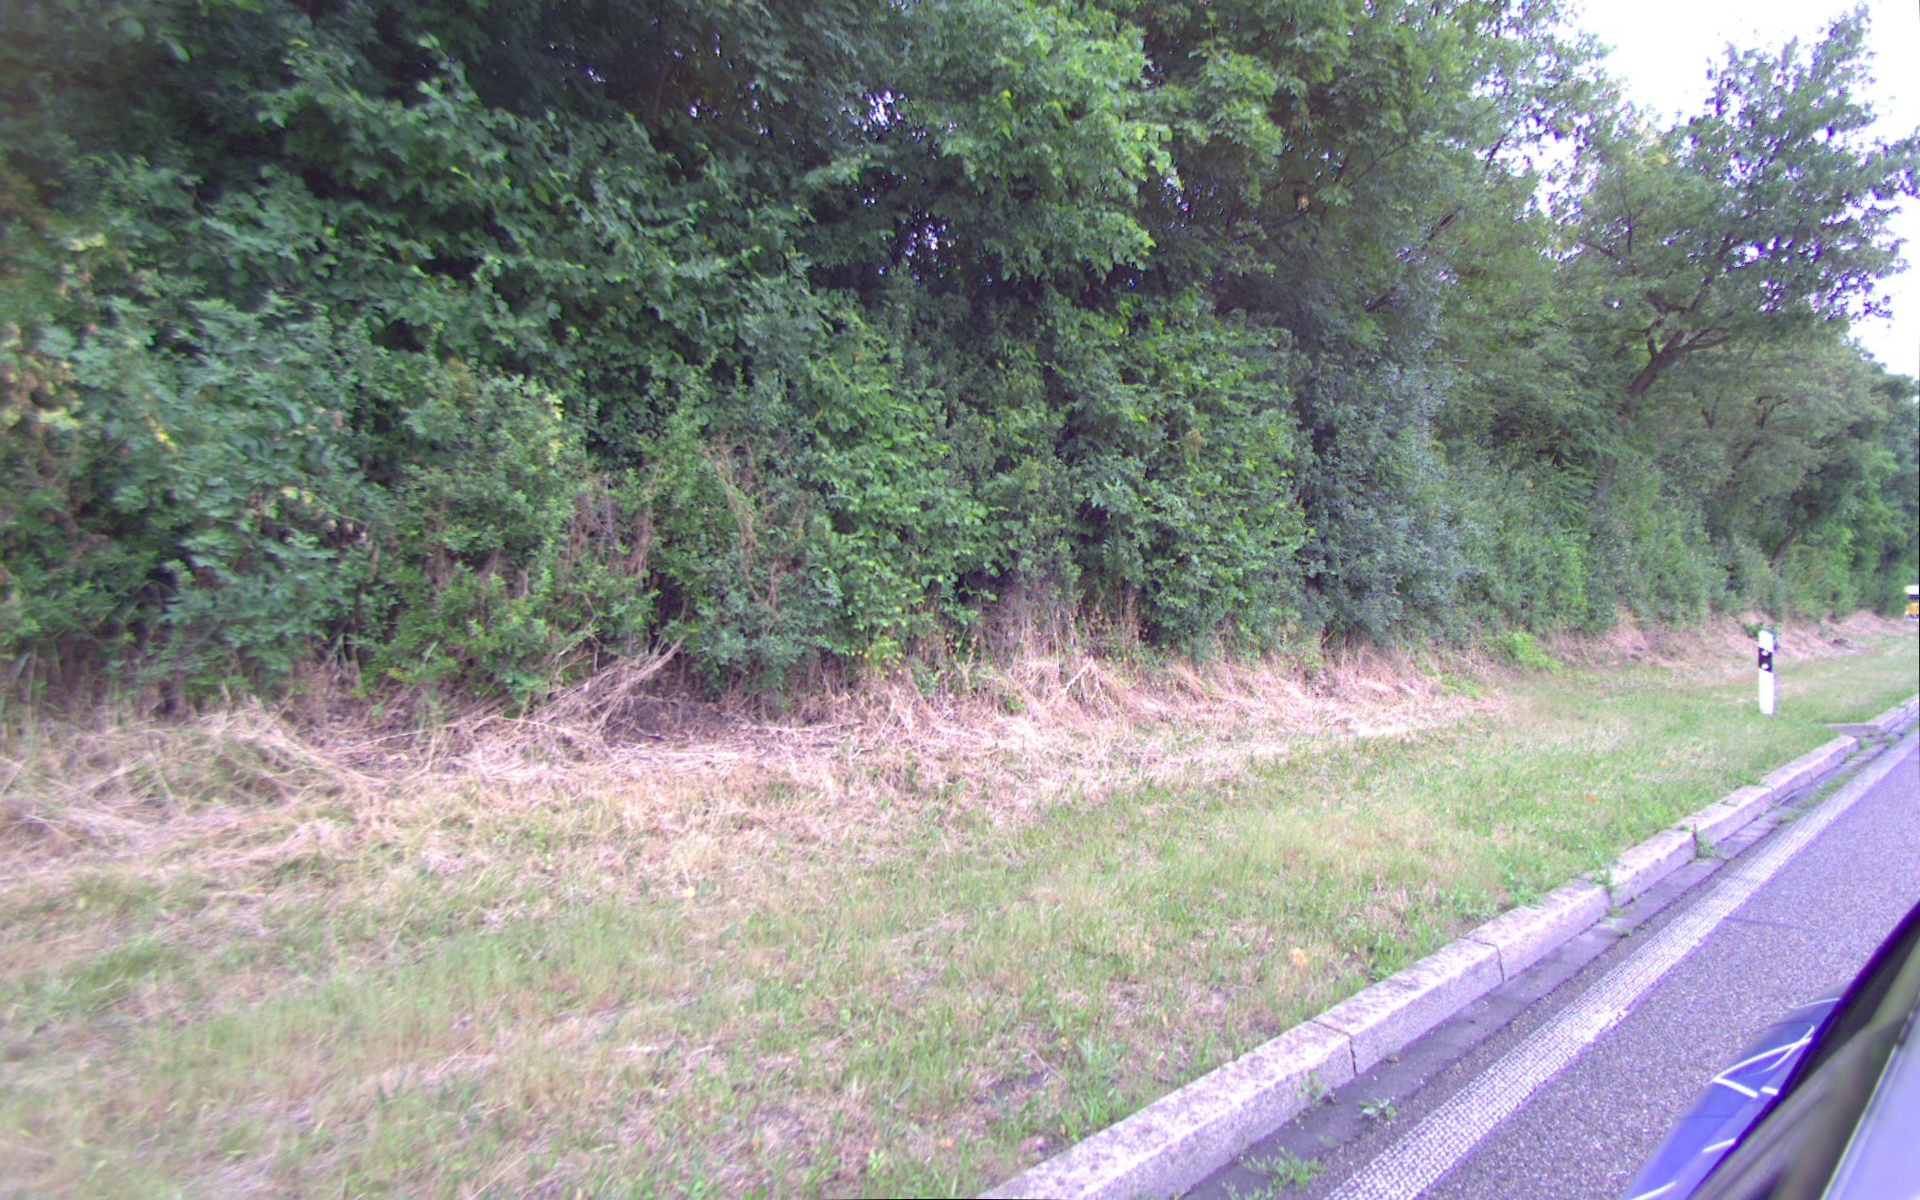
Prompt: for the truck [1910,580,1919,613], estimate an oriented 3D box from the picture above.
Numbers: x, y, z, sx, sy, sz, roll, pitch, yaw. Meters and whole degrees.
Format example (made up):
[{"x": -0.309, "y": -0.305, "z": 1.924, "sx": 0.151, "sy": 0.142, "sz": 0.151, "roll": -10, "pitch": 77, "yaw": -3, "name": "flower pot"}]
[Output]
[{"x": 120.001, "y": -0.360, "z": 125.525, "sx": 2.534, "sy": 4.023, "sz": 6.384, "roll": 1, "pitch": 1, "yaw": 38, "name": "truck"}]
